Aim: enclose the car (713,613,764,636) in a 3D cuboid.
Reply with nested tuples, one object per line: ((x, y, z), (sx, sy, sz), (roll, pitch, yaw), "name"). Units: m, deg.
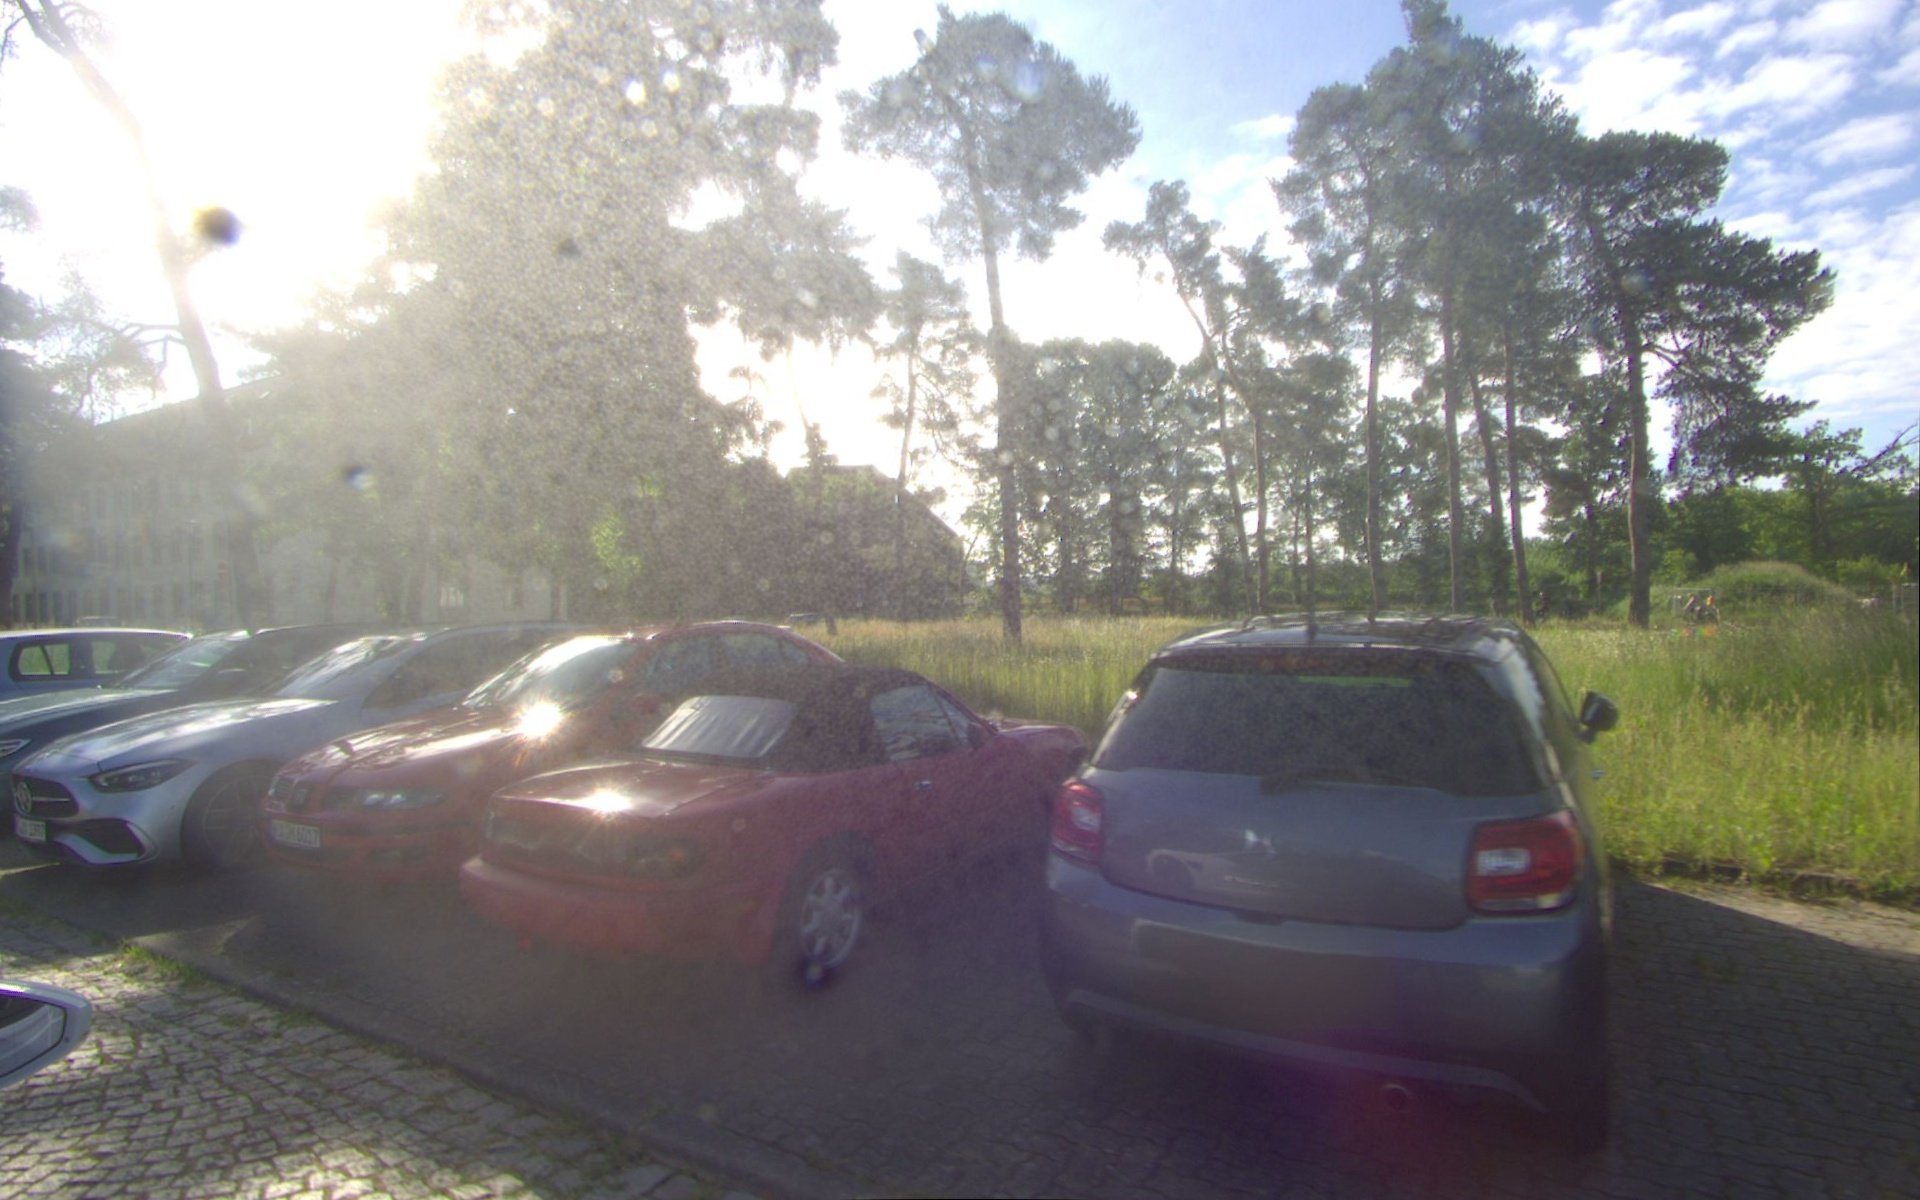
((-17.150, 1.890, 77.653), (1.743, 1.693, 3.627), (-1, 0, 33), "car")

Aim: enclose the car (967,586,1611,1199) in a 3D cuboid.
((1.677, 0.732, 4.221), (1.642, 1.474, 3.655), (-1, 1, 31), "car")

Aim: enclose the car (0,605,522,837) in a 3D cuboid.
((-6.683, 0.889, 9.278), (1.841, 1.475, 4.612), (-1, 2, 29), "car")

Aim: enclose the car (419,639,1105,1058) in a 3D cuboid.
((-0.649, 0.881, 5.132), (1.514, 1.258, 3.454), (-1, -1, 32), "car")

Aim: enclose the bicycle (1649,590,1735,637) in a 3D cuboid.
((34.075, 0.657, 46.676), (3.086, 2.039, 0.949), (-3, -1, 31), "bicycle")

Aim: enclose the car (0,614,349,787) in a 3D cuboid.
((-8.840, 0.961, 10.607), (1.641, 1.462, 3.665), (-1, 1, 31), "car")

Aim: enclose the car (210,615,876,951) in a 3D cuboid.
((-2.396, 0.893, 6.795), (1.631, 1.468, 3.972), (-1, 0, 31), "car")

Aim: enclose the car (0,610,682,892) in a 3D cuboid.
((-4.444, 0.863, 7.807), (1.762, 1.407, 4.391), (-1, 1, 30), "car")

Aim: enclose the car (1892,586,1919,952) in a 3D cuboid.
((3.802, 0.701, 2.324), (1.733, 1.470, 3.771), (-1, 1, 33), "car")

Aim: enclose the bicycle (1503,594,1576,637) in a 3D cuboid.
((29.258, 0.806, 50.574), (3.086, 2.039, 0.949), (-3, -1, 31), "bicycle")

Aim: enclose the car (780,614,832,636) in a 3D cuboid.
((-11.218, 1.810, 73.124), (1.743, 1.517, 3.627), (-1, 0, 33), "car")
